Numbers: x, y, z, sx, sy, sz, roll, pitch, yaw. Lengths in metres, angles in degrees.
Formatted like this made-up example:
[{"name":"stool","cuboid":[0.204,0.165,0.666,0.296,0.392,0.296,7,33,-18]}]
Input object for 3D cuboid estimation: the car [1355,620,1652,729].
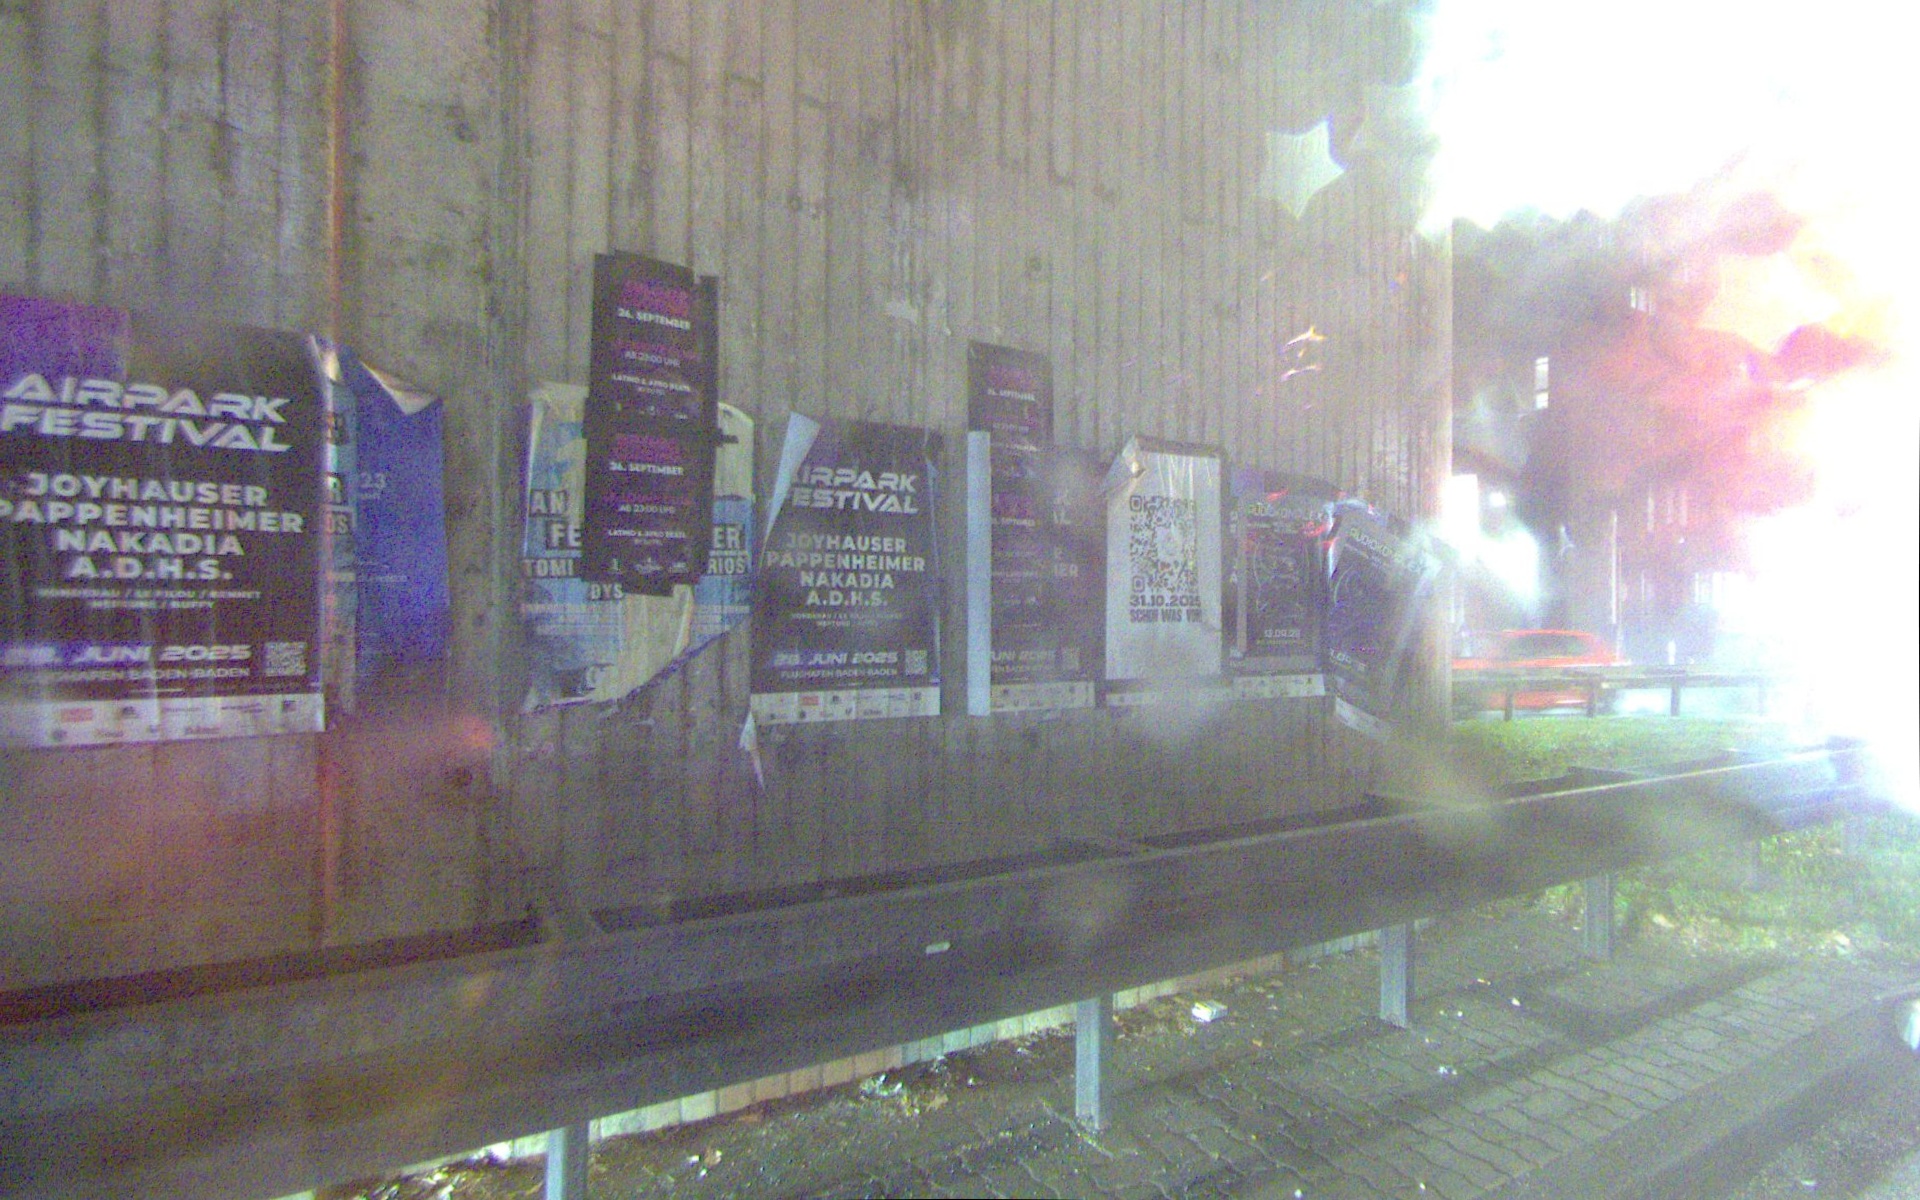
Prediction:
[{"name":"car","cuboid":[9.009,1.200,16.836,4.006,1.609,1.910,-1,-2,-8]}]
